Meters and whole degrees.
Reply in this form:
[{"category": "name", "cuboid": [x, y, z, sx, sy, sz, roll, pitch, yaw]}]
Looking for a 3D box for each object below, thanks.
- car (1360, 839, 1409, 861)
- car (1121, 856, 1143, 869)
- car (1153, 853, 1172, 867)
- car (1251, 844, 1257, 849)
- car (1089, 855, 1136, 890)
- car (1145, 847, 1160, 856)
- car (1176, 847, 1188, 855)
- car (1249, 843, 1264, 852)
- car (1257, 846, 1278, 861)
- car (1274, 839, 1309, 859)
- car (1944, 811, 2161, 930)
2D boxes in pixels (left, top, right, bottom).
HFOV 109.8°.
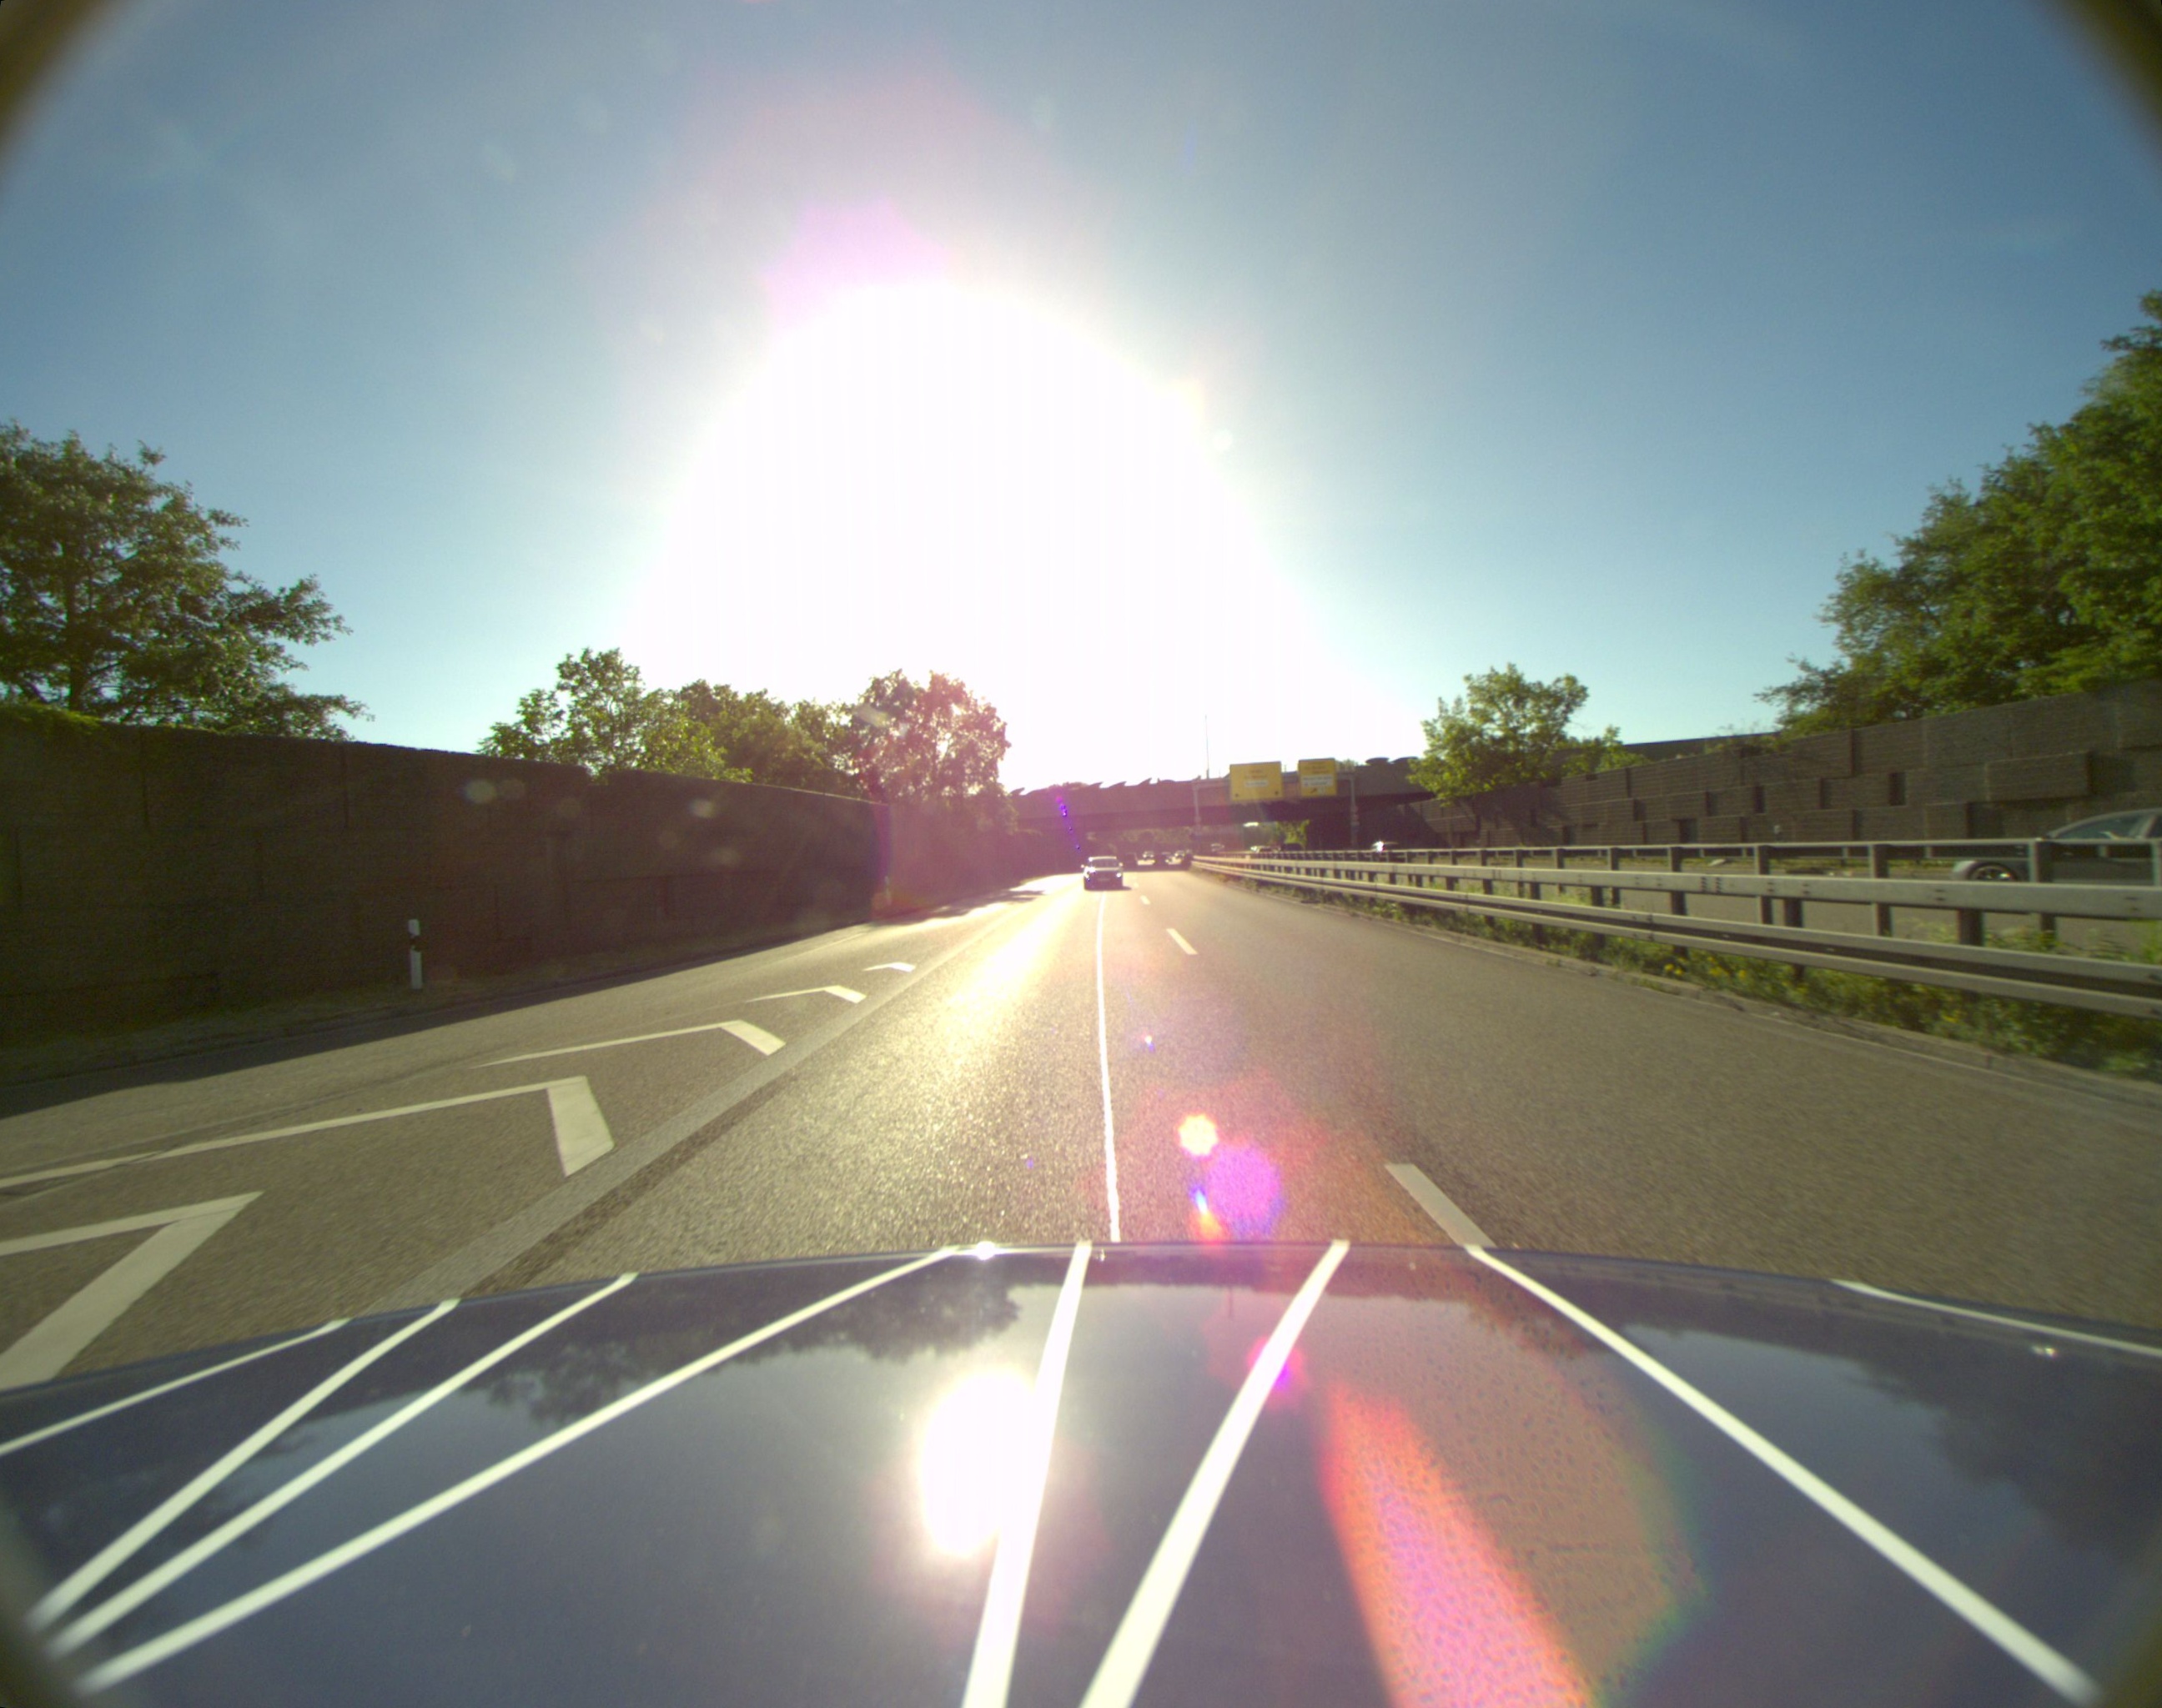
[{"category": "car", "cuboid": [20.638, -0.253, 51.819, 1.902, 1.413, 4.136, -2, 0, 4]}, {"category": "car", "cuboid": [6.423, 0.988, 95.048, 1.997, 1.406, 4.835, -4, 0, 13]}, {"category": "car", "cuboid": [9.136, 0.686, 85.787, 1.998, 1.406, 4.832, -4, 0, 5]}, {"category": "car", "cuboid": [57.110, -2.433, 250.912, 1.997, 1.631, 4.725, -4, 0, 13]}, {"category": "car", "cuboid": [1.537, 0.810, 35.291, 1.998, 1.406, 4.832, -2, 0, 4]}, {"category": "car", "cuboid": [13.031, -0.419, 137.869, 1.997, 1.406, 4.835, -4, 0, 13]}, {"category": "car", "cuboid": [20.201, -0.620, 152.051, 1.997, 1.406, 4.834, -4, 0, 11]}, {"category": "car", "cuboid": [31.699, -1.199, 137.387, 1.997, 1.586, 4.429, -3, 0, 7]}, {"category": "car", "cuboid": [22.095, -0.073, 89.945, 1.549, 1.564, 4.397, -5, 0, 4]}, {"category": "car", "cuboid": [18.268, -0.425, 66.206, 1.902, 1.564, 4.809, -5, 0, 4]}, {"category": "car", "cuboid": [15.118, 0.177, 10.130, 1.998, 1.471, 4.535, -5, 0, 1]}]
